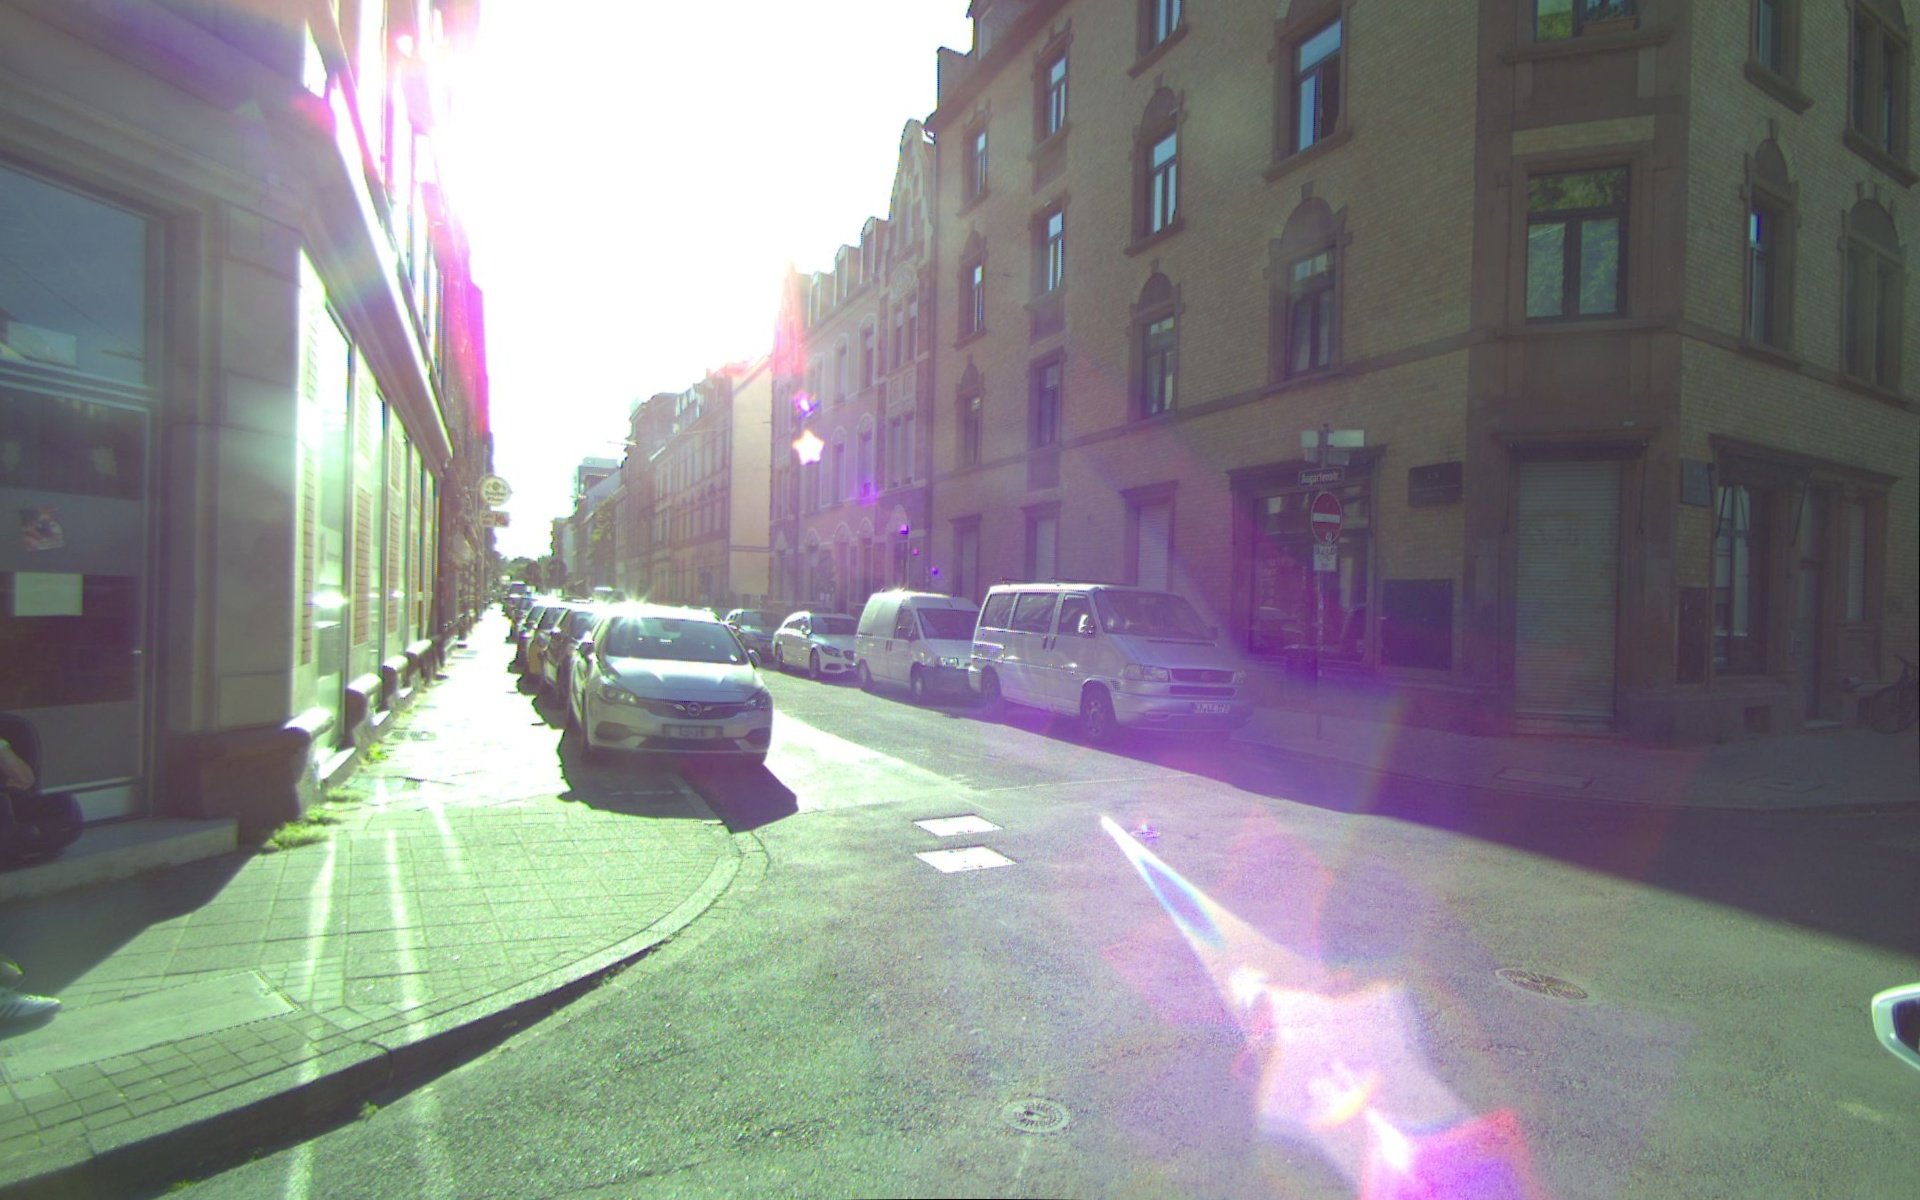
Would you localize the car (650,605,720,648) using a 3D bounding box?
[{"bbox_3d":[-10.612,0.989,38.586,1.756,1.504,4.333,2,-1,-27],"label":"car"}]

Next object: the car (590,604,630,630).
[{"bbox_3d":[-21.852,1.031,62.635,1.756,1.504,4.333,2,-1,-27],"label":"car"}]

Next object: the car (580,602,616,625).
[{"bbox_3d":[-24.763,0.929,68.628,1.756,1.504,4.333,2,-1,-27],"label":"car"}]

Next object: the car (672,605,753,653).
[{"bbox_3d":[-8.494,0.954,34.258,1.756,1.504,4.333,2,-1,-27],"label":"car"}]

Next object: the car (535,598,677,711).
[{"bbox_3d":[-5.745,0.801,16.052,1.748,1.550,3.670,4,-2,-24],"label":"car"}]

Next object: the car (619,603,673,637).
[{"bbox_3d":[-15.034,0.929,47.946,1.756,1.504,4.333,2,-1,-27],"label":"car"}]

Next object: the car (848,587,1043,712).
[{"bbox_3d":[-0.417,0.821,18.194,1.913,1.919,4.338,4,-2,-23],"label":"car"}]

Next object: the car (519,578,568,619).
[{"bbox_3d":[-17.824,-0.057,42.887,1.748,1.550,3.514,4,-2,-24],"label":"car"}]

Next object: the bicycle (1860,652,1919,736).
[{"bbox_3d":[13.631,1.317,14.357,1.869,1.088,0.530,2,4,-31],"label":"bicycle"}]

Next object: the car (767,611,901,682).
[{"bbox_3d":[-3.055,1.029,23.540,1.756,1.461,4.333,2,-1,-27],"label":"car"}]

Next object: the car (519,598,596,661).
[{"bbox_3d":[-11.216,0.794,27.879,1.748,1.550,3.514,4,-2,-24],"label":"car"}]

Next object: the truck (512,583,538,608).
[{"bbox_3d":[-36.901,-0.393,85.165,1.757,2.017,4.333,2,-1,-27],"label":"truck"}]

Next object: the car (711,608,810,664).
[{"bbox_3d":[-5.989,1.021,29.753,1.756,1.504,4.333,2,-1,-27],"label":"car"}]

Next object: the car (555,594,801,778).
[{"bbox_3d":[-3.246,0.786,10.852,1.842,1.550,4.415,4,-2,-24],"label":"car"}]

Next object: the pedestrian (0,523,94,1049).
[{"bbox_3d":[-3.398,0.569,3.266,0.709,1.666,0.545,4,-1,-31],"label":"pedestrian"}]

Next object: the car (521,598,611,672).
[{"bbox_3d":[-9.435,0.790,23.913,1.748,1.550,3.514,4,-2,-24],"label":"car"}]

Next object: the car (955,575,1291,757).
[{"bbox_3d":[1.848,0.756,13.127,1.999,1.919,4.698,3,-2,-24],"label":"car"}]

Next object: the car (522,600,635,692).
[{"bbox_3d":[-7.467,0.833,19.474,1.748,1.550,3.514,4,-2,-24],"label":"car"}]
